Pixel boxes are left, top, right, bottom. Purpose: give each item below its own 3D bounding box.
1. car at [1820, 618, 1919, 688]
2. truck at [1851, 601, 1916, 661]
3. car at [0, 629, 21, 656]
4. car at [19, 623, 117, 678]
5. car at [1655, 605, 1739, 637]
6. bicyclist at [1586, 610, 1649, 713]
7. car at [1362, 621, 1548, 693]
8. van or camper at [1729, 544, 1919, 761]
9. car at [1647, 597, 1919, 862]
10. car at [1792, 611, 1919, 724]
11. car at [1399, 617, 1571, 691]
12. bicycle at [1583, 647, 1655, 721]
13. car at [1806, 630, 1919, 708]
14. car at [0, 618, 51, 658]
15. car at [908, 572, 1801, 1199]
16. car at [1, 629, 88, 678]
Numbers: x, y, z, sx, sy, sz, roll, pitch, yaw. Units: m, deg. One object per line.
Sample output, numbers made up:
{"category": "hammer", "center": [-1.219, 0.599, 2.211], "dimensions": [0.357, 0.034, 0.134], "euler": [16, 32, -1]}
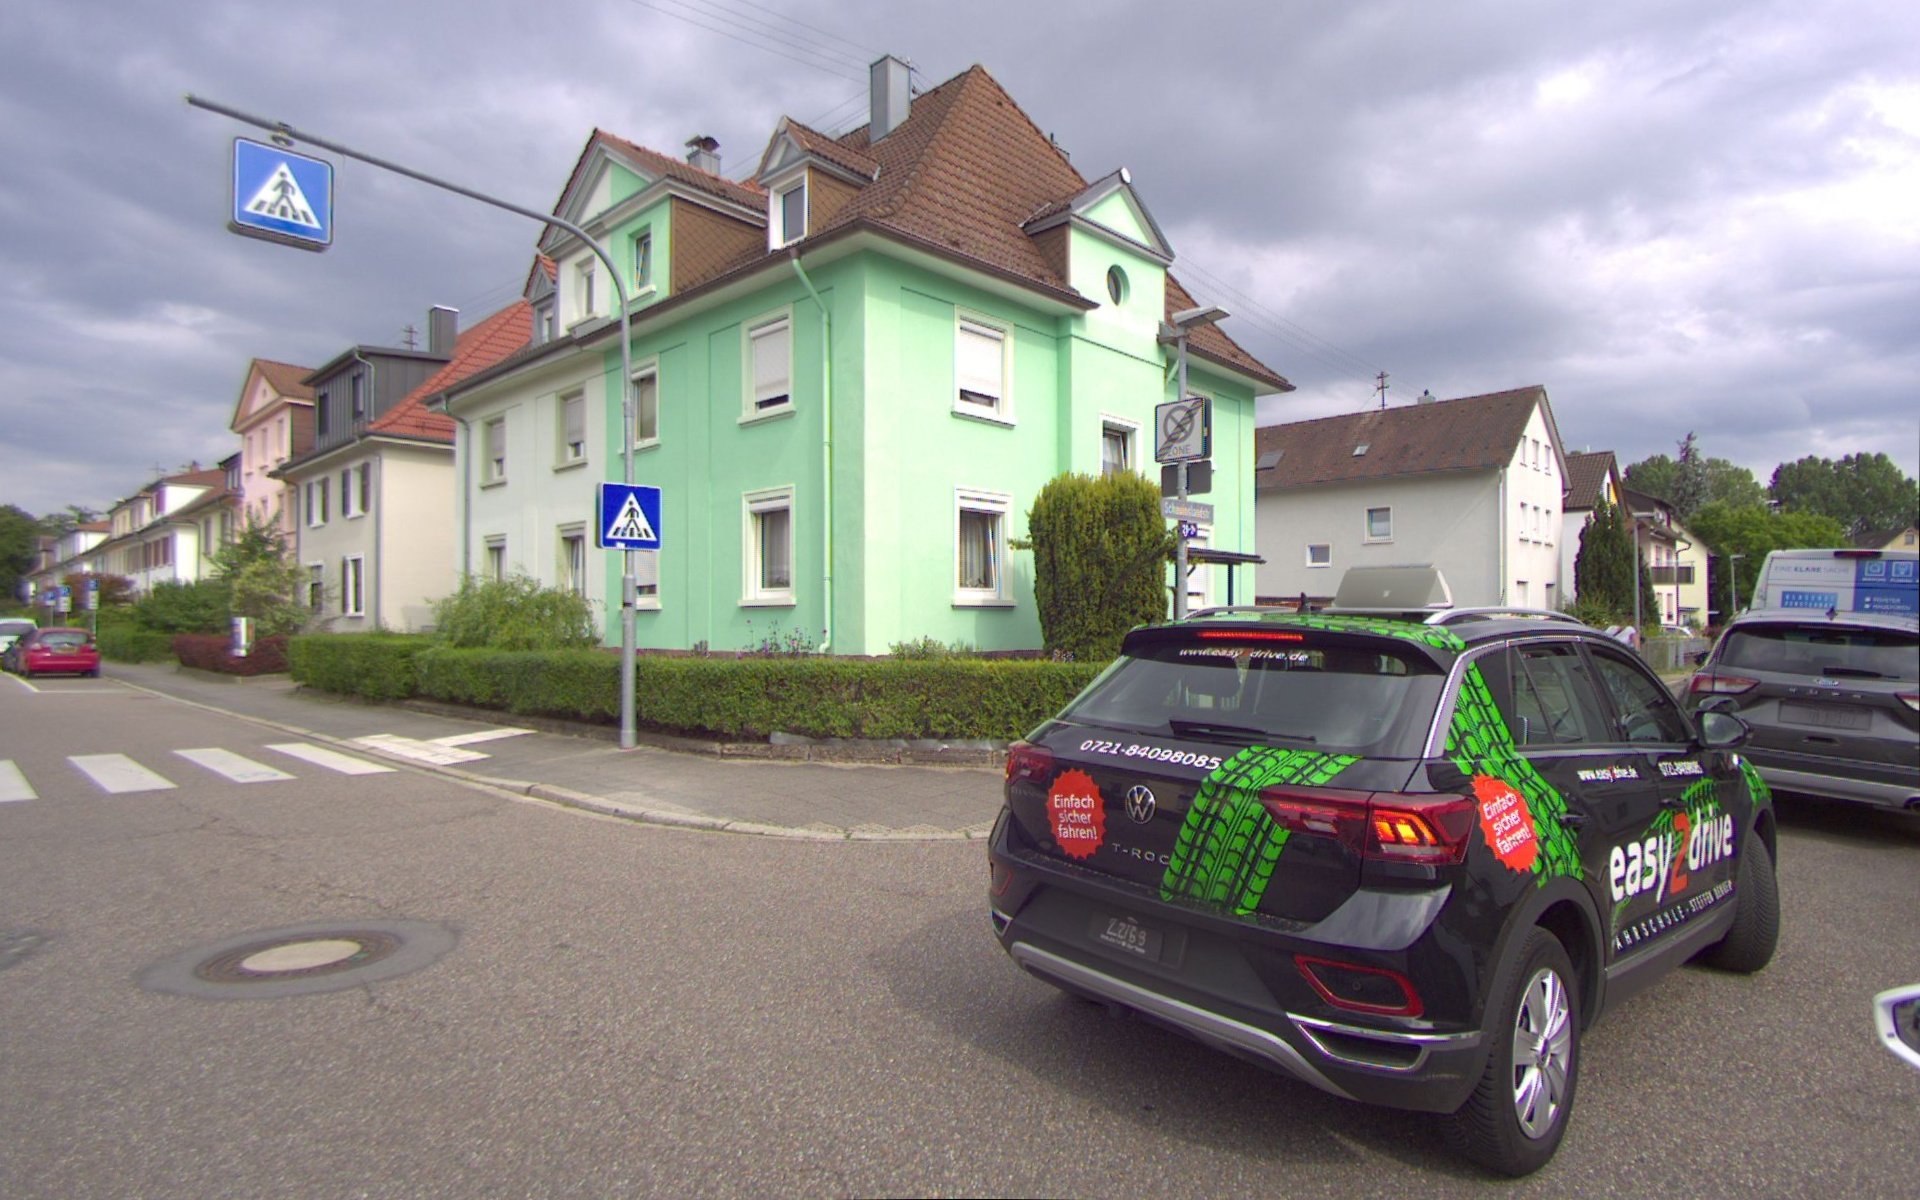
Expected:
{"category": "car", "center": [25.116, 1.398, 27.787], "dimensions": [1.971, 1.772, 4.320], "euler": [-1, -2, 41]}
{"category": "truck", "center": [43.638, 1.424, 47.551], "dimensions": [2.106, 2.692, 4.560], "euler": [-1, -2, 41]}
{"category": "car", "center": [-59.200, 2.586, 61.732], "dimensions": [3.945, 1.595, 1.988], "euler": [-1, -2, 44]}
{"category": "car", "center": [-27.889, 1.538, 31.372], "dimensions": [3.945, 1.595, 1.988], "euler": [-1, -2, 44]}
{"category": "car", "center": [43.560, 1.277, 59.389], "dimensions": [3.939, 1.795, 1.862], "euler": [-1, -3, 40]}
{"category": "bicyclist", "center": [11.183, 1.035, 17.073], "dimensions": [0.689, 1.688, 0.969], "euler": [-3, -3, 44]}
{"category": "car", "center": [11.190, 1.254, 22.819], "dimensions": [3.529, 1.520, 1.580], "euler": [-1, -2, 40]}
{"category": "van or camper", "center": [12.240, 0.647, 13.829], "dimensions": [2.168, 2.491, 5.026], "euler": [-1, -2, 43]}
{"category": "car", "center": [7.359, 0.895, 8.592], "dimensions": [1.971, 1.749, 4.320], "euler": [-1, -2, 41]}
{"category": "car", "center": [16.298, 1.120, 18.065], "dimensions": [1.971, 1.795, 4.320], "euler": [-1, -2, 41]}
{"category": "car", "center": [12.982, 1.300, 24.921], "dimensions": [3.529, 1.689, 1.580], "euler": [-1, -2, 40]}
{"category": "bicycle", "center": [11.255, 1.395, 17.133], "dimensions": [0.697, 1.167, 1.862], "euler": [-2, -3, 43]}
{"category": "car", "center": [19.682, 1.417, 21.787], "dimensions": [1.971, 1.475, 4.320], "euler": [-1, -2, 41]}
{"category": "car", "center": [-47.639, 1.891, 50.944], "dimensions": [3.945, 1.929, 1.988], "euler": [-1, -2, 44]}
{"category": "car", "center": [1.918, 0.781, 4.138], "dimensions": [4.012, 1.540, 1.800], "euler": [2, -2, -41]}
{"category": "car", "center": [-31.744, 1.793, 34.792], "dimensions": [3.945, 1.595, 1.988], "euler": [-1, -2, 44]}
